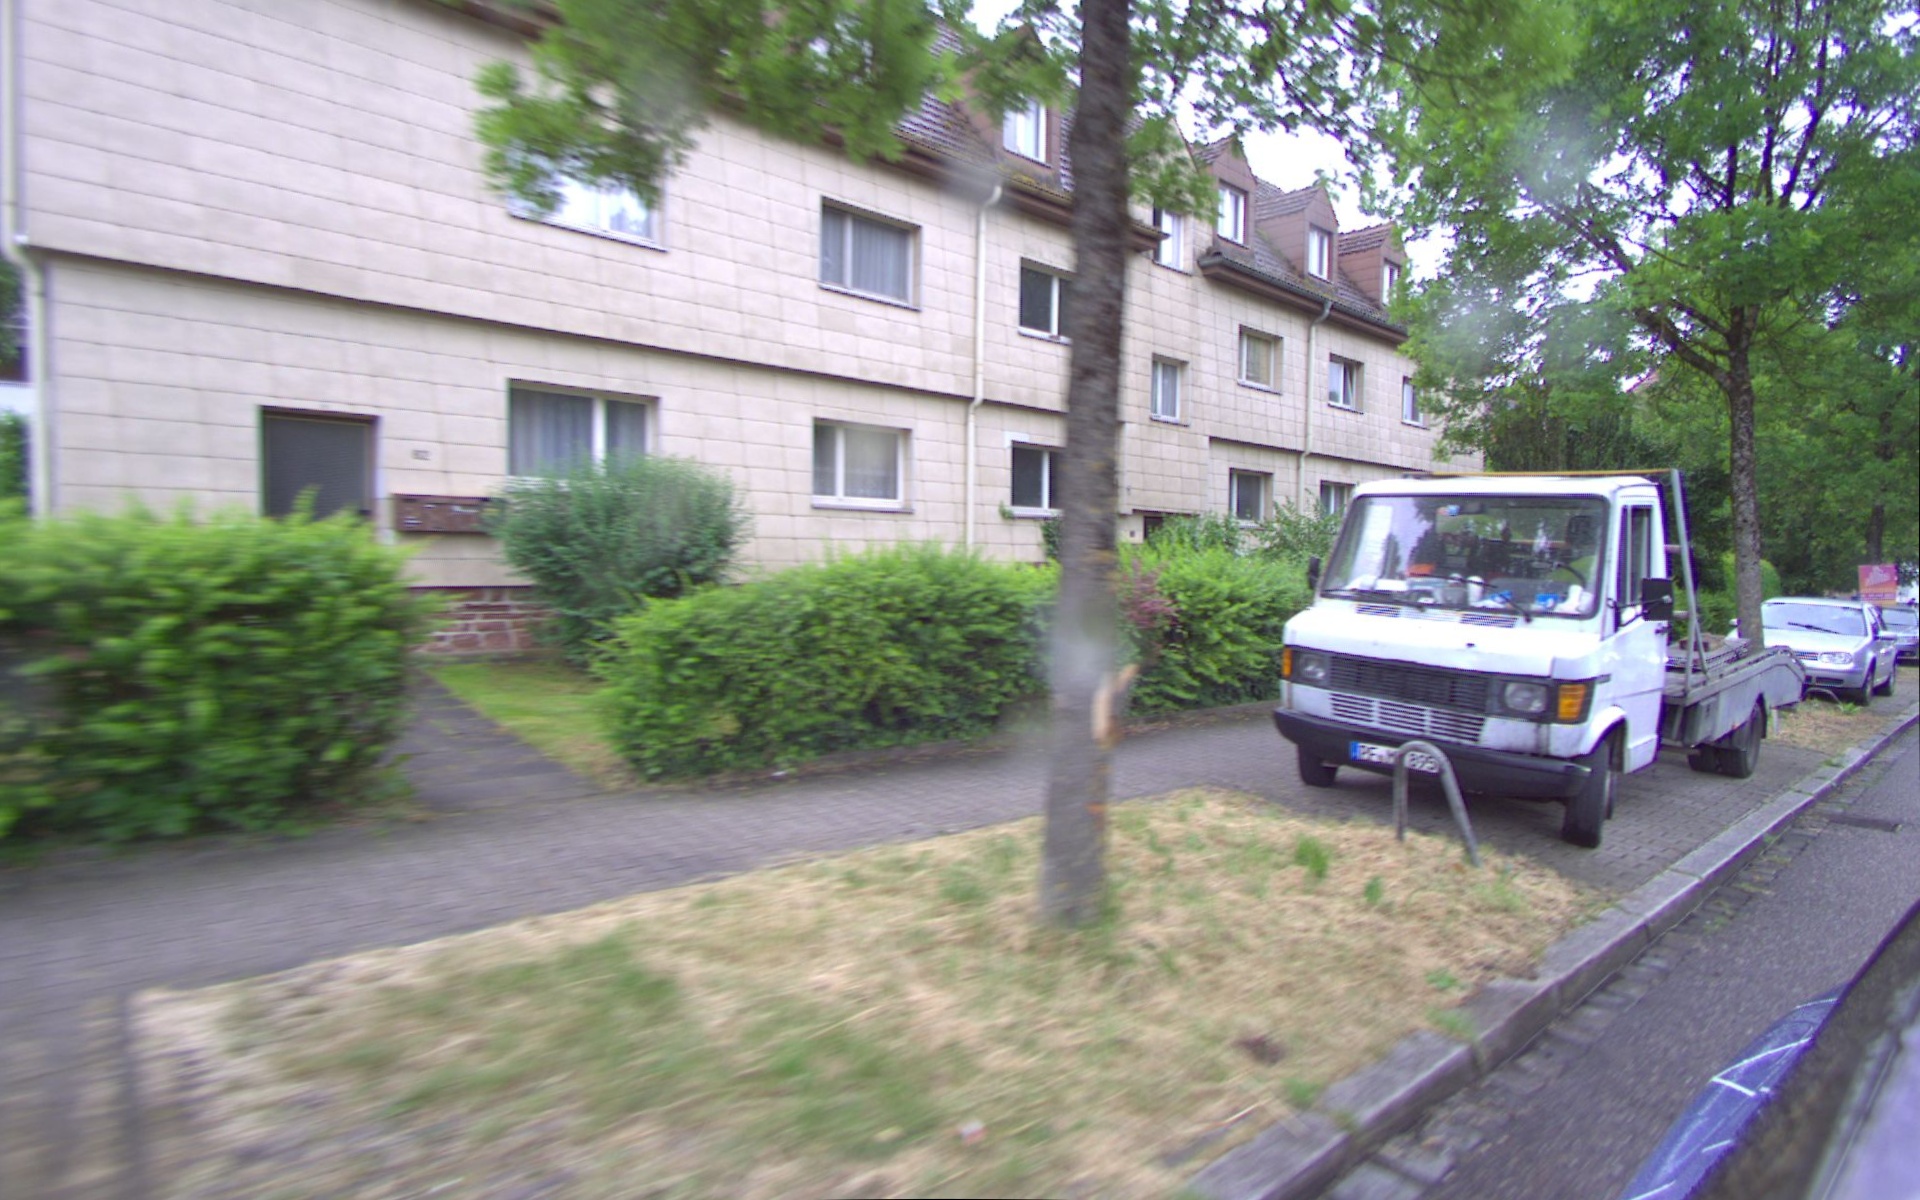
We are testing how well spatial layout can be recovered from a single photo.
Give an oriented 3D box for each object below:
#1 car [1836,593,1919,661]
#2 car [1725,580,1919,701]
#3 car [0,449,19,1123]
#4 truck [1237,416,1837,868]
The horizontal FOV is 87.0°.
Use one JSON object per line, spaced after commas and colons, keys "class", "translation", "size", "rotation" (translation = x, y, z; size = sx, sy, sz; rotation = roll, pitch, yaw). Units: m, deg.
{"class": "car", "translation": [22.644, 0.626, 24.411], "size": [4.422, 1.406, 1.691], "rotation": [1, 4, -42]}
{"class": "car", "translation": [12.994, 0.563, 15.114], "size": [3.950, 1.453, 1.606], "rotation": [2, 4, -41]}
{"class": "car", "translation": [-3.326, 0.463, 0.485], "size": [4.110, 1.516, 1.718], "rotation": [1, 4, -41]}
{"class": "truck", "translation": [4.928, 0.145, 7.951], "size": [6.390, 2.248, 2.084], "rotation": [1, 4, -42]}
